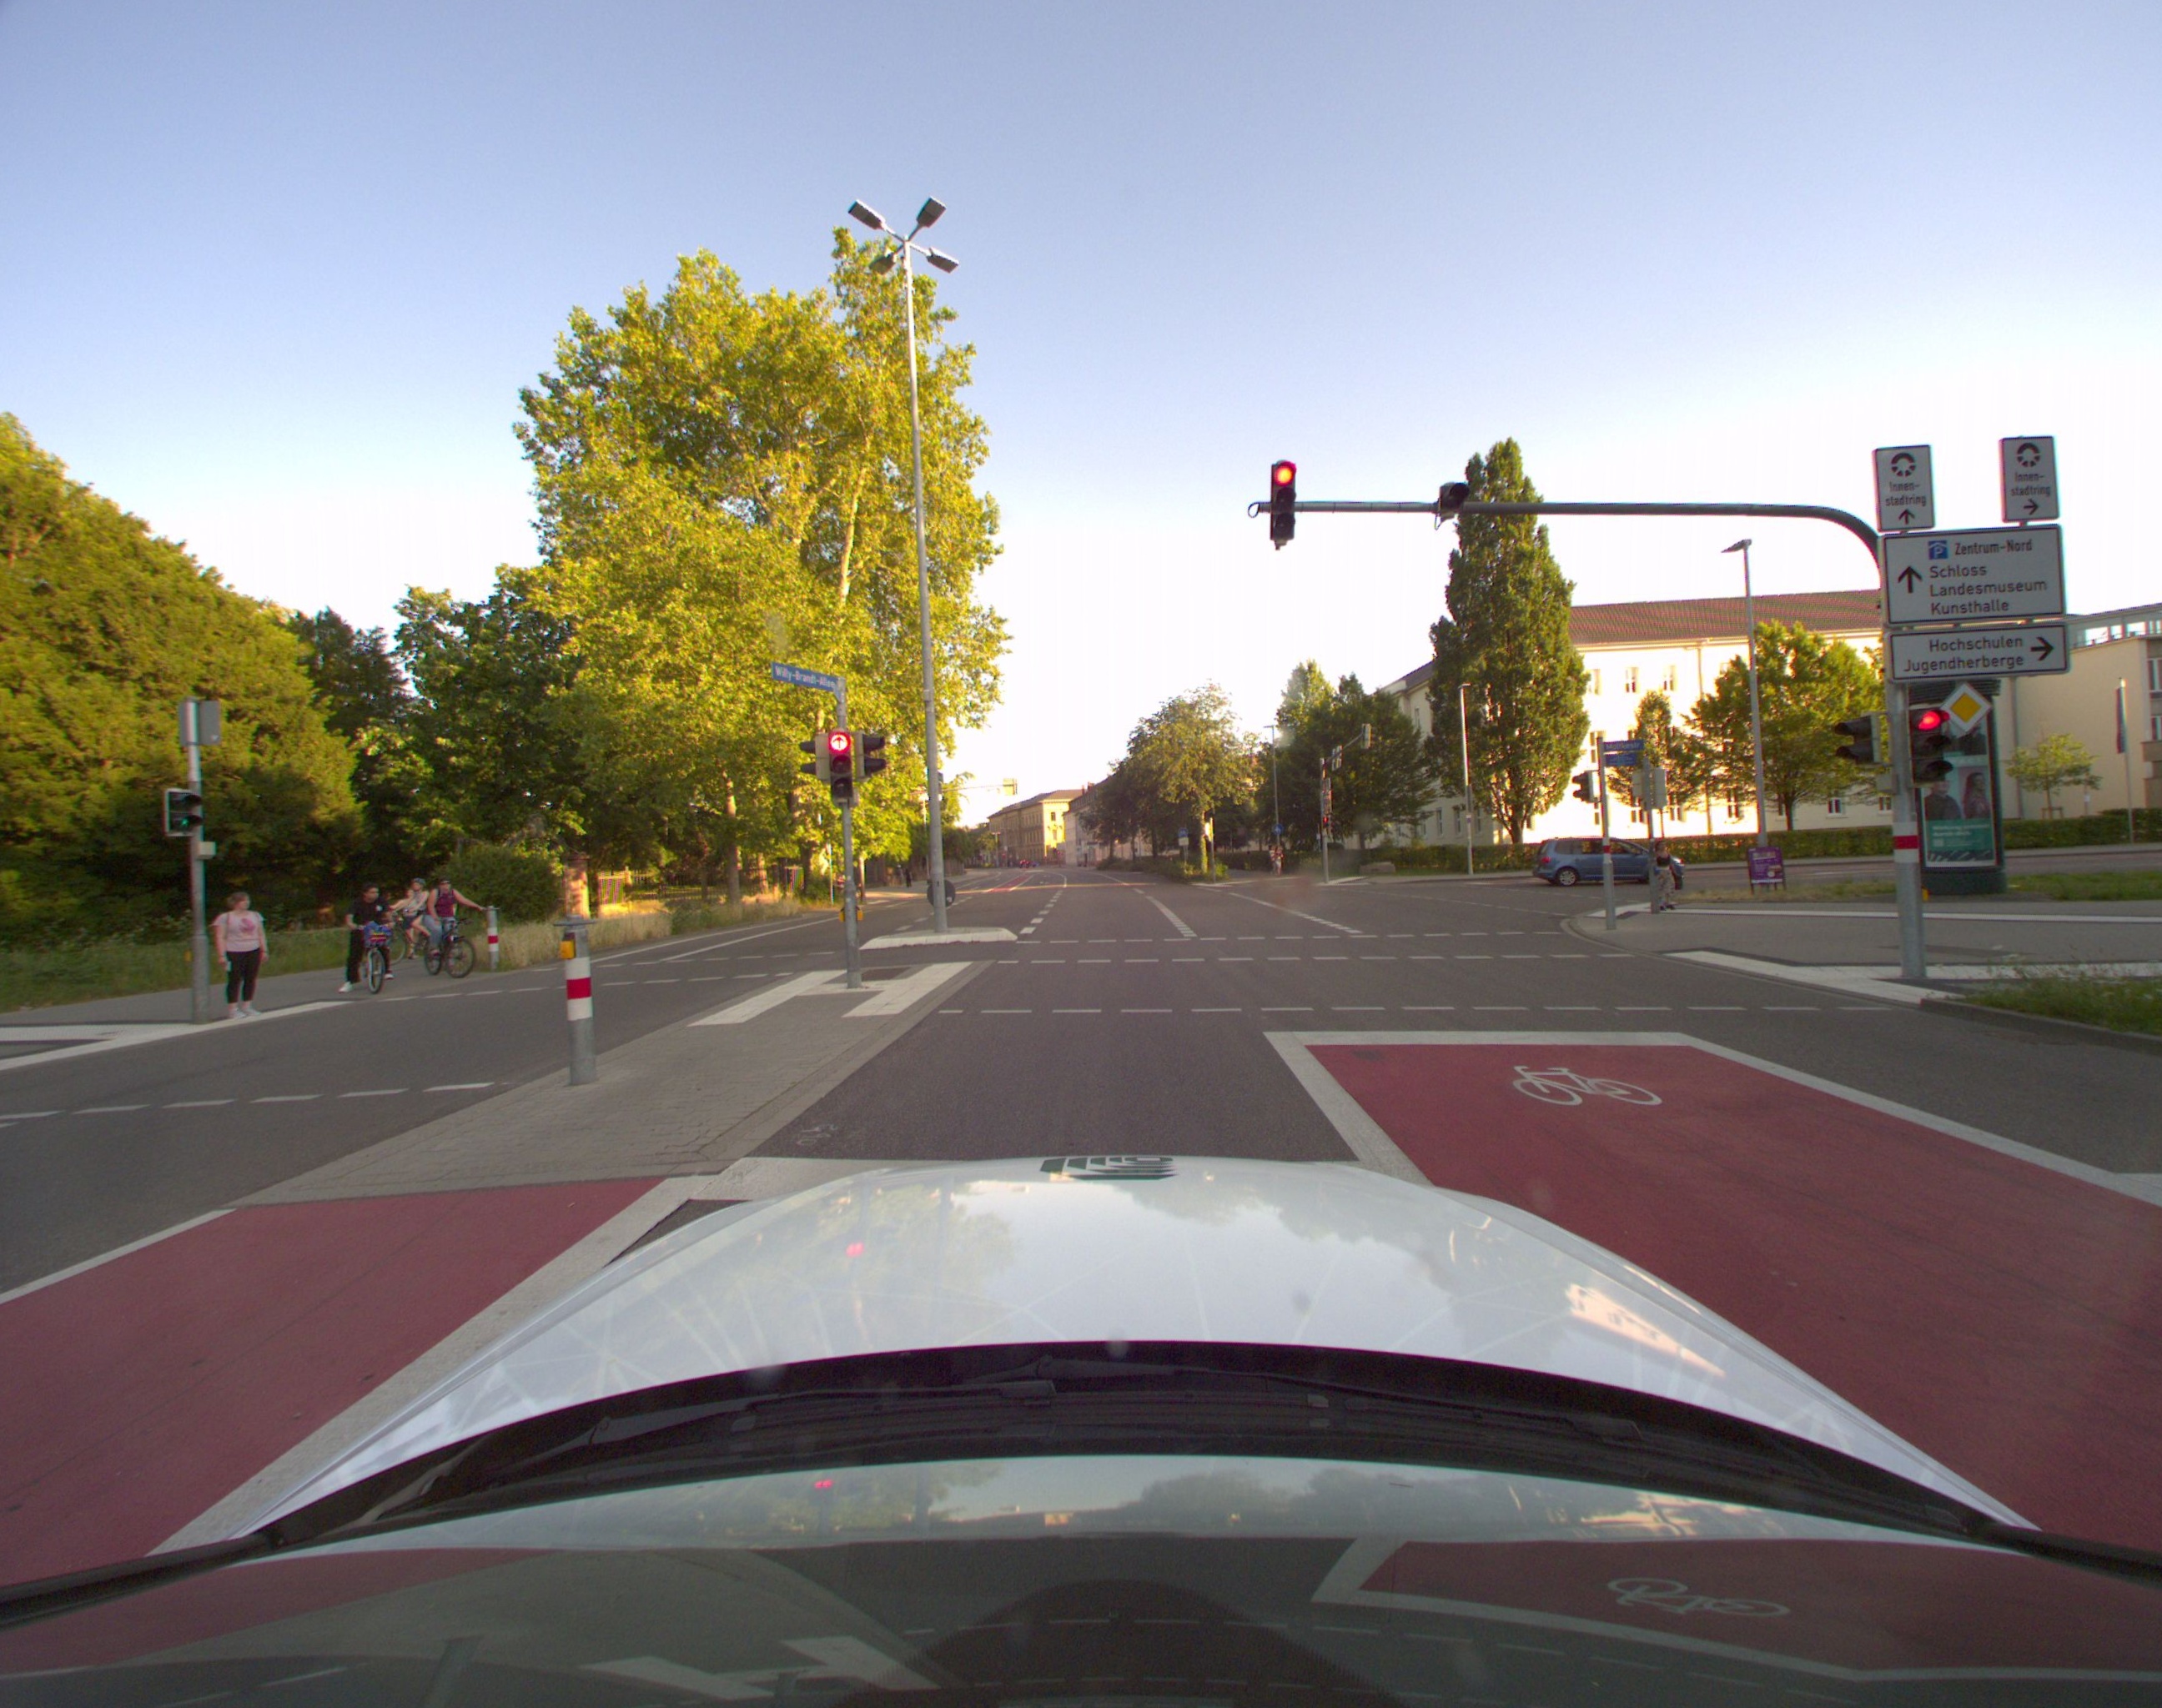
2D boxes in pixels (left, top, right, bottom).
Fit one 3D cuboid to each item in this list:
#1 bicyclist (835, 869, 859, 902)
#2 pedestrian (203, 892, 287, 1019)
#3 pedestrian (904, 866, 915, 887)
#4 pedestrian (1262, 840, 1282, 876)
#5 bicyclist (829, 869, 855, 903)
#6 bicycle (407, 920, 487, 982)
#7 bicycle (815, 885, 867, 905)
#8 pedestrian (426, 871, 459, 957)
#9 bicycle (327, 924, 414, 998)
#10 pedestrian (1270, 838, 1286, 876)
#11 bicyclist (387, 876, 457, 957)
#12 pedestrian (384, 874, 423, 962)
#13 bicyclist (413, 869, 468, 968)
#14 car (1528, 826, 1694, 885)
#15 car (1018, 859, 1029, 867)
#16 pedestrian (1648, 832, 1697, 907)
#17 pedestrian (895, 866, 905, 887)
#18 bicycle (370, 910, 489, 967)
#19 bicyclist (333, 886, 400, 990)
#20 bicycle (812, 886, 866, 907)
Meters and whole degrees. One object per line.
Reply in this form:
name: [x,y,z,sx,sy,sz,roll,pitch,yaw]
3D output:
bicyclist: [-12.192,1.631,42.469,0.954,1.631,0.753,-3,0,2]
pedestrian: [-11.760,1.413,11.469,0.604,1.695,0.499,-3,-1,3]
pedestrian: [-13.056,1.705,61.915,0.597,1.573,0.646,-3,0,1]
pedestrian: [10.747,0.214,45.838,0.867,2.014,0.722,-2,-1,1]
bicyclist: [-11.950,1.614,40.713,0.954,1.631,0.753,-3,0,2]
bicycle: [-11.778,1.774,15.108,1.749,1.030,0.583,-3,-1,32]
bicycle: [-12.510,2.137,42.480,2.420,0.924,0.775,-3,0,2]
pedestrian: [-15.566,1.442,19.861,0.598,2.014,0.634,-1,-1,-38]
bicycle: [-11.792,1.742,13.503,1.548,1.111,0.637,-3,-1,32]
pedestrian: [10.747,0.177,44.448,0.633,2.014,0.720,-2,-1,-2]
bicyclist: [-14.731,1.382,18.229,0.752,1.728,0.944,-2,-1,0]
pedestrian: [-16.106,1.506,19.379,0.654,2.014,0.599,-1,-1,-37]
bicyclist: [-11.966,1.197,15.216,0.631,1.780,0.580,-3,-1,32]
car: [17.464,0.041,27.061,4.248,1.720,1.864,-3,2,17]
car: [-12.020,1.828,170.254,1.821,1.588,3.983,-4,0,-12]
pedestrian: [13.197,0.339,18.181,0.596,1.636,0.693,-2,0,6]
pedestrian: [-13.800,1.719,61.994,0.533,1.596,0.591,-3,0,1]
bicycle: [-14.672,1.882,18.450,0.736,1.033,2.299,-2,0,3]
bicyclist: [-11.896,1.381,13.564,0.631,1.649,0.634,-3,-1,32]
bicycle: [-12.087,2.109,40.706,2.420,0.924,0.775,-3,0,2]
